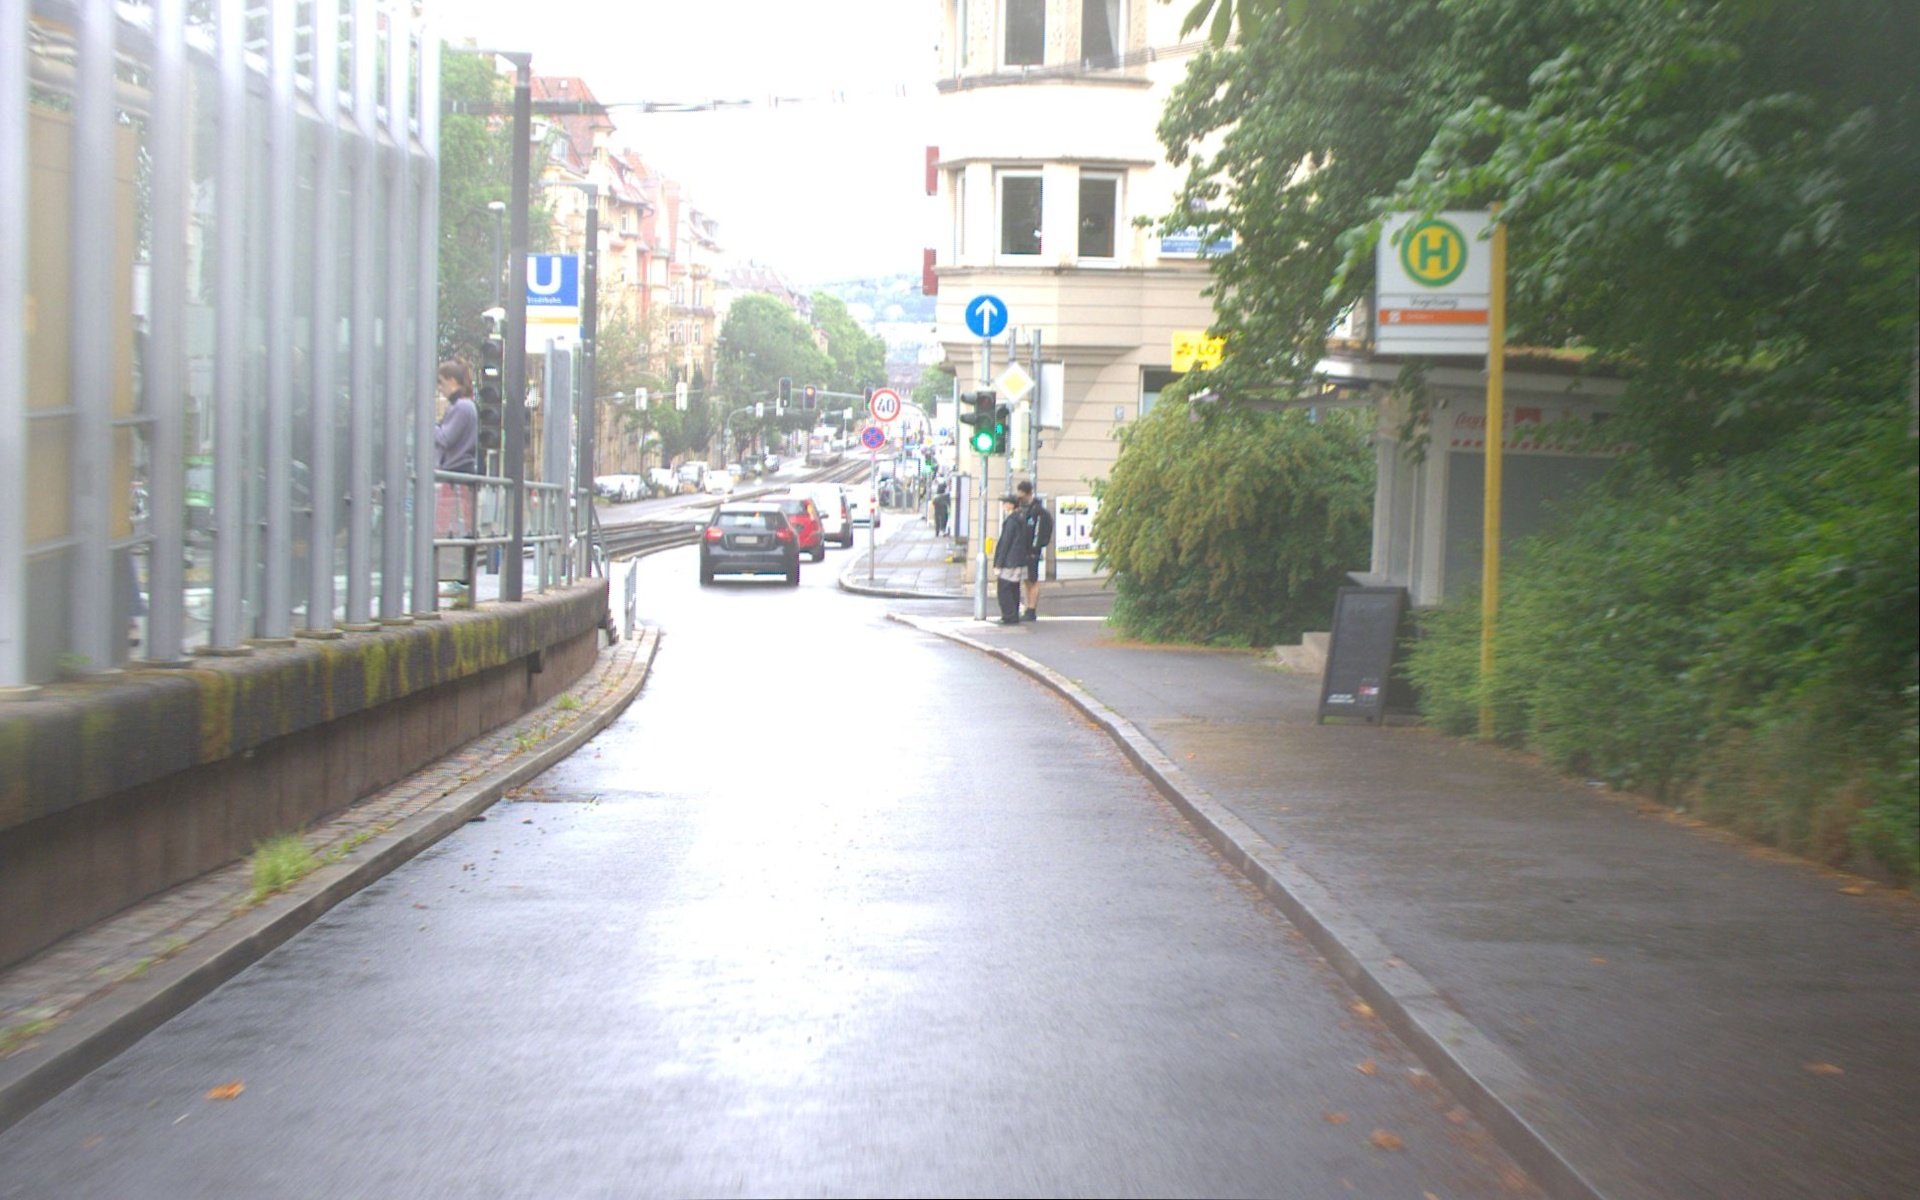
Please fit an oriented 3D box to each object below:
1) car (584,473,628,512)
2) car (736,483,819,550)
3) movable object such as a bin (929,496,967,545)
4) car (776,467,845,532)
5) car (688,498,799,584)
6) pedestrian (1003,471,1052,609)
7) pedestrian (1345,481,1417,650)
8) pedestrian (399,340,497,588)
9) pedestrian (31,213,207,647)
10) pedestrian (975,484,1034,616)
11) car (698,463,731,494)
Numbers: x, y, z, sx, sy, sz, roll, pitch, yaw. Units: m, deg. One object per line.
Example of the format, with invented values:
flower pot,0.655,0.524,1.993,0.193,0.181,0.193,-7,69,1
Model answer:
car,-18.993,-5.754,184.485,1.993,2.007,4.347,-1,1,-2
car,-4.234,-1.945,80.209,1.851,1.468,4.001,1,1,-2
movable object such as a bin,-0.408,-2.714,116.737,1.167,1.649,1.309,-1,2,-4
car,-4.351,-2.913,100.306,1.948,1.786,4.145,1,1,-2
car,-3.864,-1.089,61.897,1.851,1.468,4.001,1,2,-2
pedestrian,0.892,-0.796,45.480,0.553,1.807,0.651,1,1,-3
pedestrian,4.425,-0.365,36.144,0.602,1.739,0.614,2,1,-2
pedestrian,-3.797,-1.003,25.526,0.589,1.801,0.661,2,1,-2
pedestrian,-3.733,-0.745,15.298,0.589,1.874,0.711,1,1,-2
pedestrian,0.578,-0.653,44.849,0.695,1.689,0.556,1,1,-3
car,-16.420,-8.101,229.768,1.993,2.006,4.347,1,2,-2
